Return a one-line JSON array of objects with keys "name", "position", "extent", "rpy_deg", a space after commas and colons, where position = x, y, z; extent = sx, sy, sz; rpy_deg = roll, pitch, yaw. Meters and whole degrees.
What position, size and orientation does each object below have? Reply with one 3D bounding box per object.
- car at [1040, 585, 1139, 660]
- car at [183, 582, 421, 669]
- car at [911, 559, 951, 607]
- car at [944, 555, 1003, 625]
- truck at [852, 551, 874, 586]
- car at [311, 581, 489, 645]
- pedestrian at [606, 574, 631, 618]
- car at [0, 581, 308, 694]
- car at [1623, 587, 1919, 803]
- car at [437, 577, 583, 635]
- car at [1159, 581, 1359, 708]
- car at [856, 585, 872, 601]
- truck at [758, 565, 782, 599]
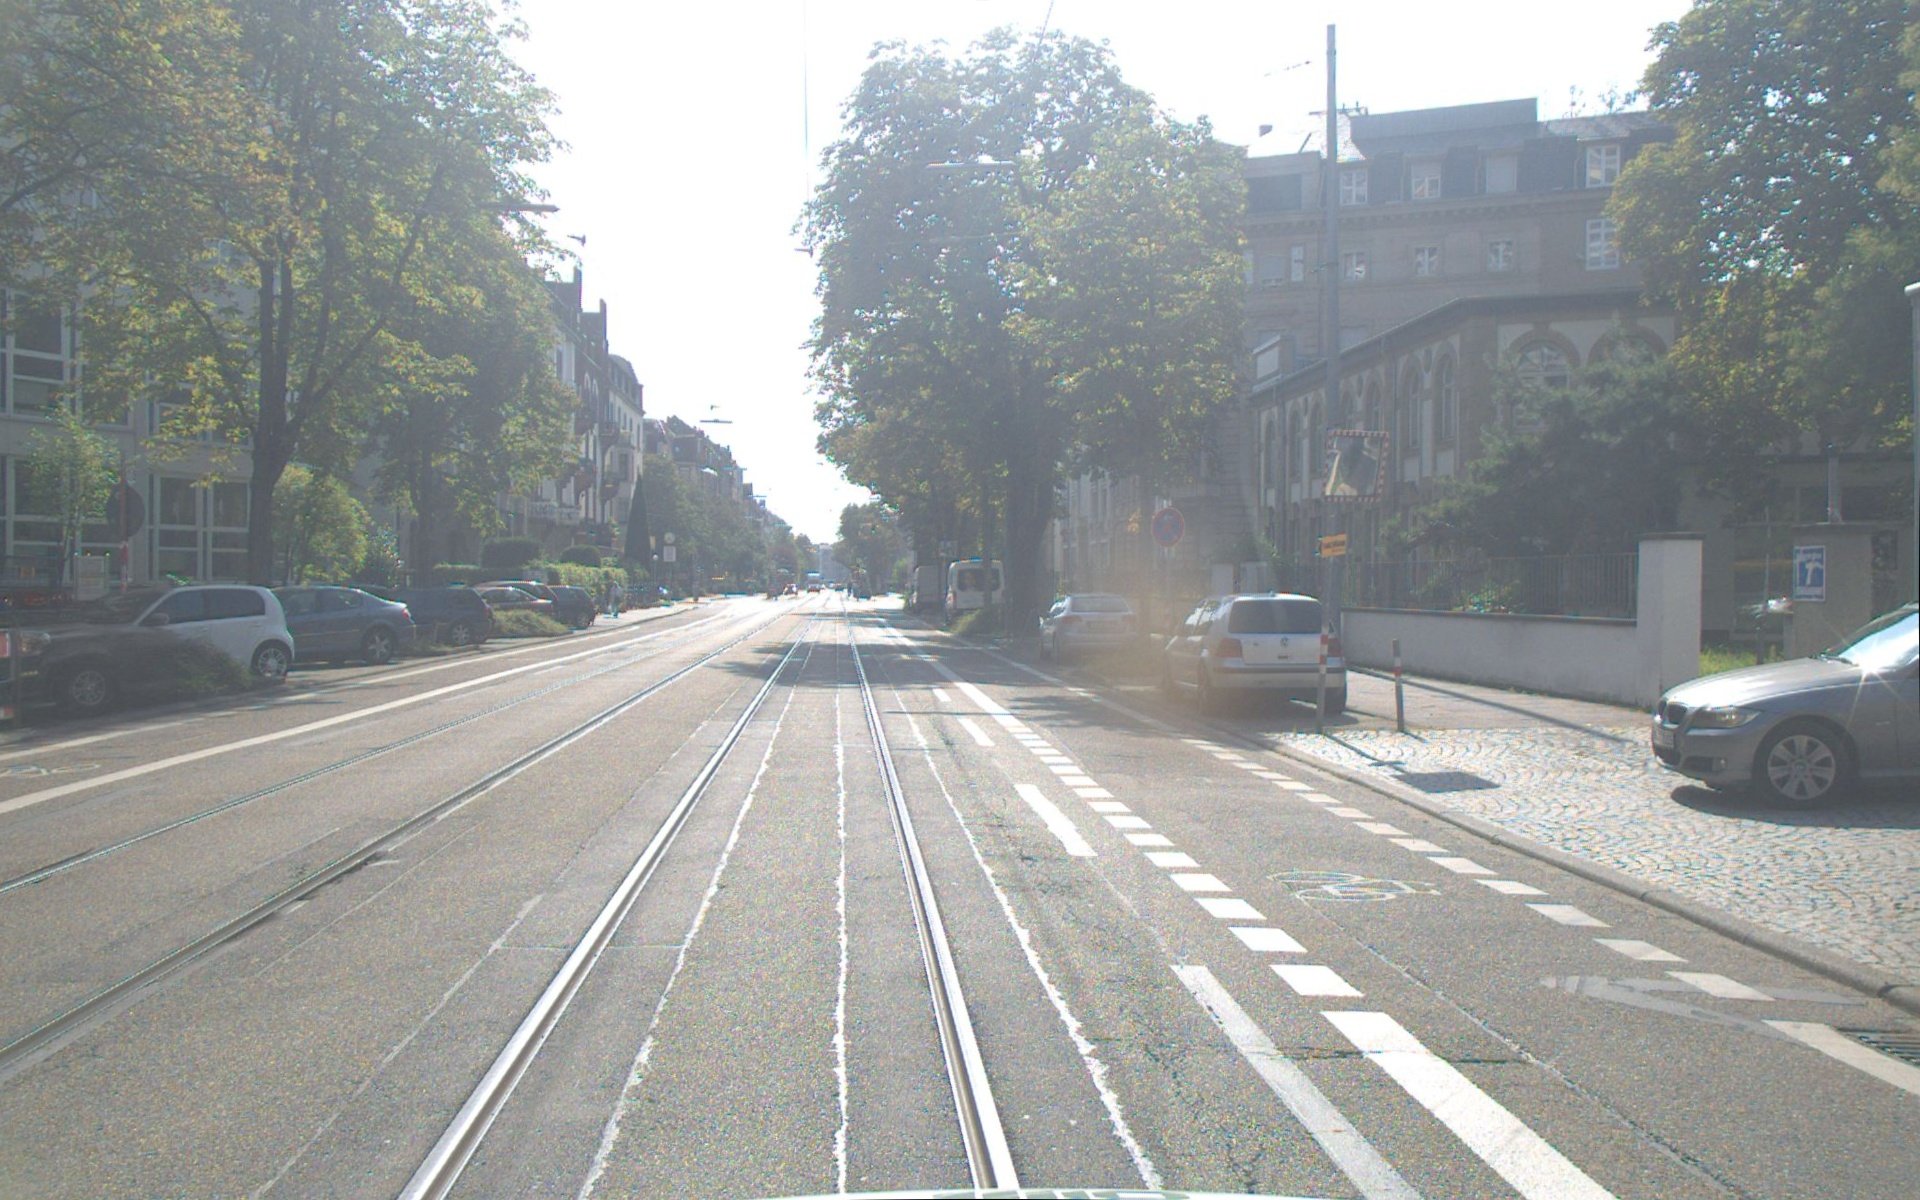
[{"name": "car", "position": [2.636, 0.425, 34.332], "extent": [1.563, 1.443, 3.632], "rpy_deg": [0, 1, -3]}, {"name": "car", "position": [-11.845, 0.406, 29.951], "extent": [1.541, 1.468, 3.744], "rpy_deg": [1, 1, 40]}, {"name": "car", "position": [-1.588, -0.934, 89.187], "extent": [1.965, 2.518, 4.474], "rpy_deg": [0, 1, -3]}, {"name": "car", "position": [0.469, -0.403, 62.366], "extent": [1.965, 2.534, 4.474], "rpy_deg": [0, 1, -3]}, {"name": "truck", "position": [-8.839, -2.857, 150.494], "extent": [1.825, 3.185, 4.347], "rpy_deg": [0, 1, -6]}, {"name": "car", "position": [-13.094, 0.269, 38.831], "extent": [1.541, 1.431, 3.744], "rpy_deg": [1, 1, 40]}, {"name": "pedestrian", "position": [-14.177, -0.163, 68.643], "extent": [0.943, 1.791, 0.660], "rpy_deg": [0, 0, -5]}, {"name": "car", "position": [-11.431, 0.476, 23.605], "extent": [1.539, 1.468, 3.750], "rpy_deg": [1, 1, 35]}, {"name": "car", "position": [7.449, 0.616, 12.275], "extent": [4.327, 1.434, 1.807], "rpy_deg": [-2, -1, 6]}, {"name": "car", "position": [-13.447, 0.146, 49.494], "extent": [3.947, 1.668, 1.673], "rpy_deg": [0, 1, -32]}, {"name": "car", "position": [3.641, 0.493, 20.724], "extent": [1.656, 1.443, 3.632], "rpy_deg": [0, 1, -3]}, {"name": "car", "position": [-11.963, -0.878, 206.096], "extent": [1.954, 1.870, 3.998], "rpy_deg": [0, 1, -3]}, {"name": "truck", "position": [-17.178, -1.660, 149.794], "extent": [1.954, 3.027, 4.567], "rpy_deg": [0, 1, -5]}]
